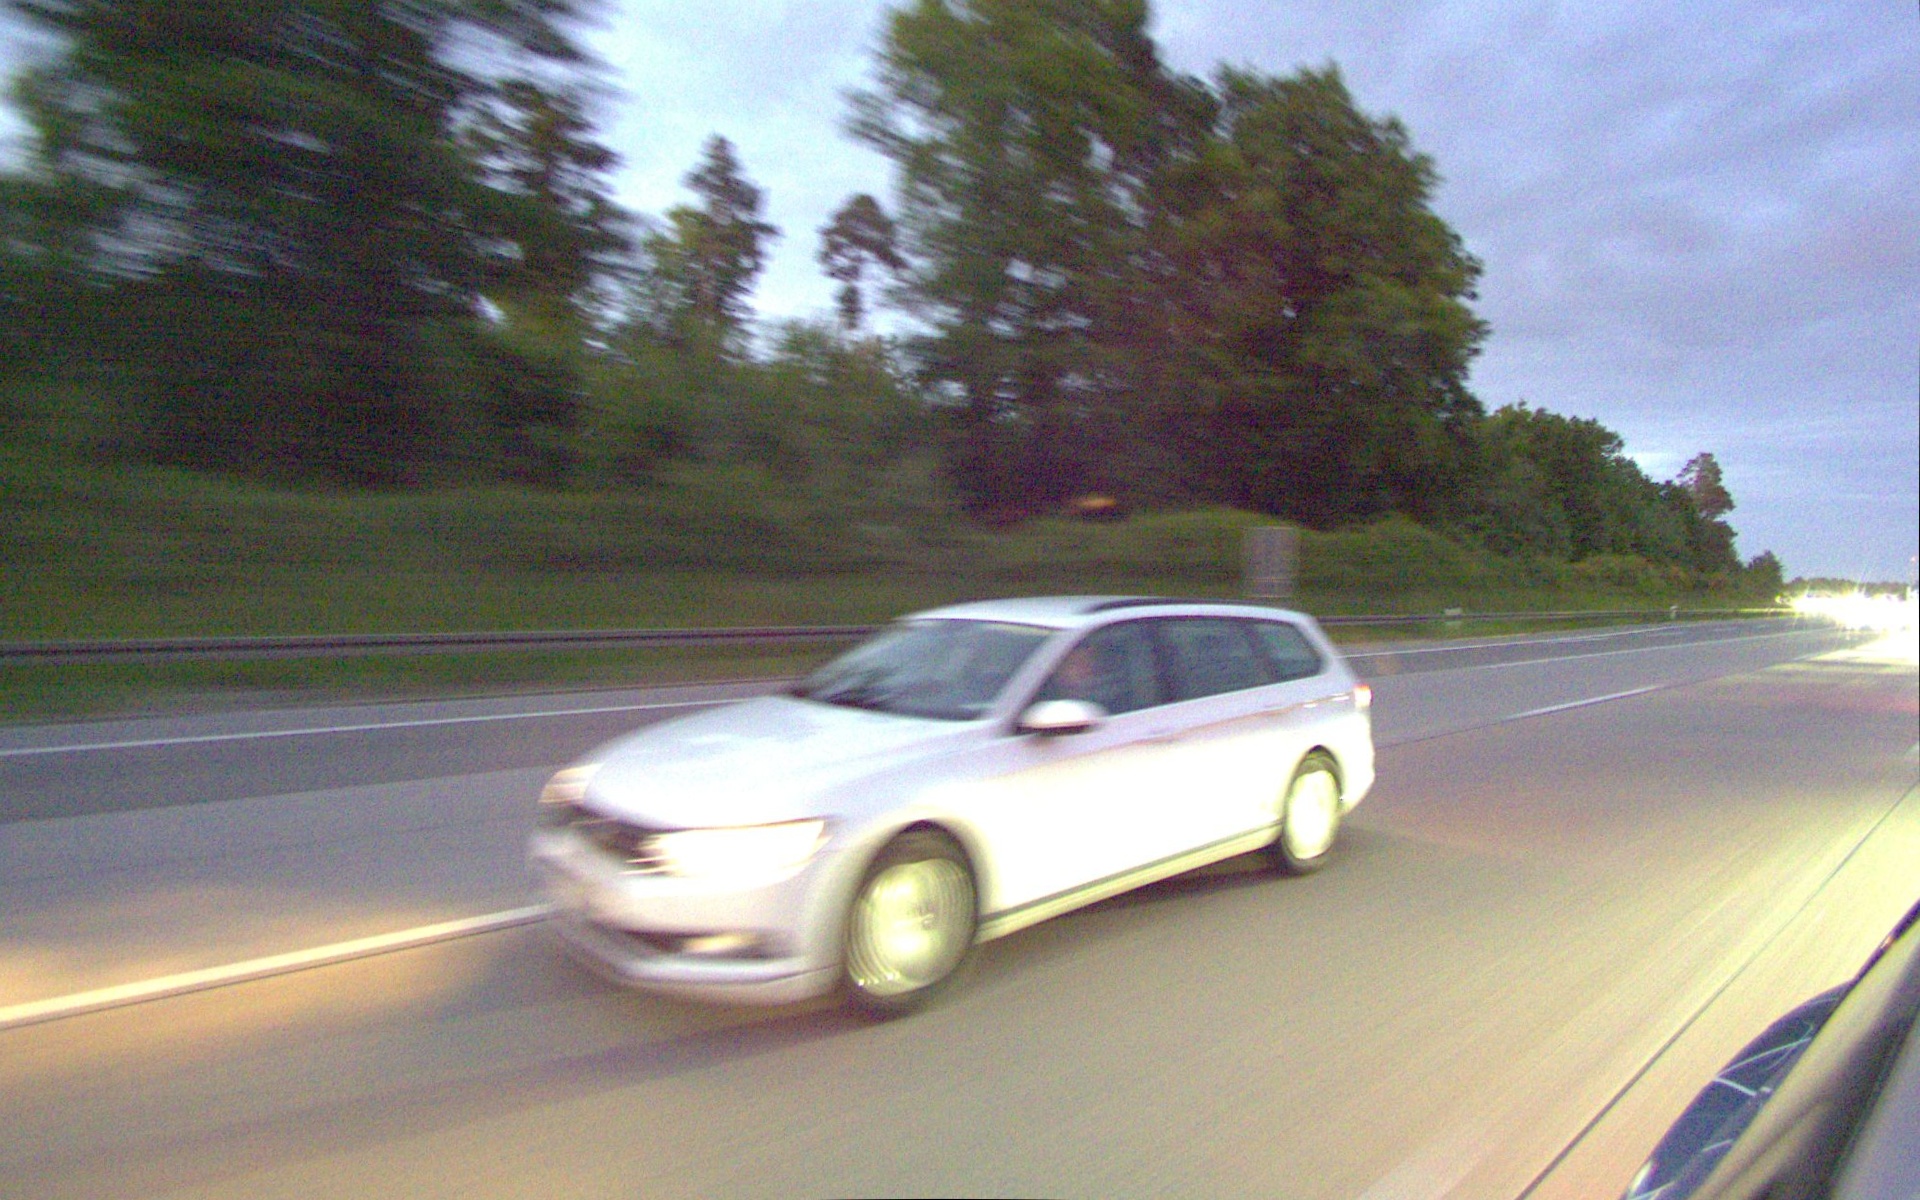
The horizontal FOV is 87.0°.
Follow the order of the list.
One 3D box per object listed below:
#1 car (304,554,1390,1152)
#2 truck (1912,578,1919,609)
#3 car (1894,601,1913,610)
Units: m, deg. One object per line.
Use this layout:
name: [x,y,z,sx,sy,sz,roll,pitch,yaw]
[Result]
car: [-0.024,0.655,4.865,5.041,1.485,1.812,1,0,-41]
truck: [131.309,-0.775,136.761,10.366,4.061,3.140,1,0,-43]
car: [145.416,0.868,155.977,3.974,1.398,1.817,0,0,-42]
